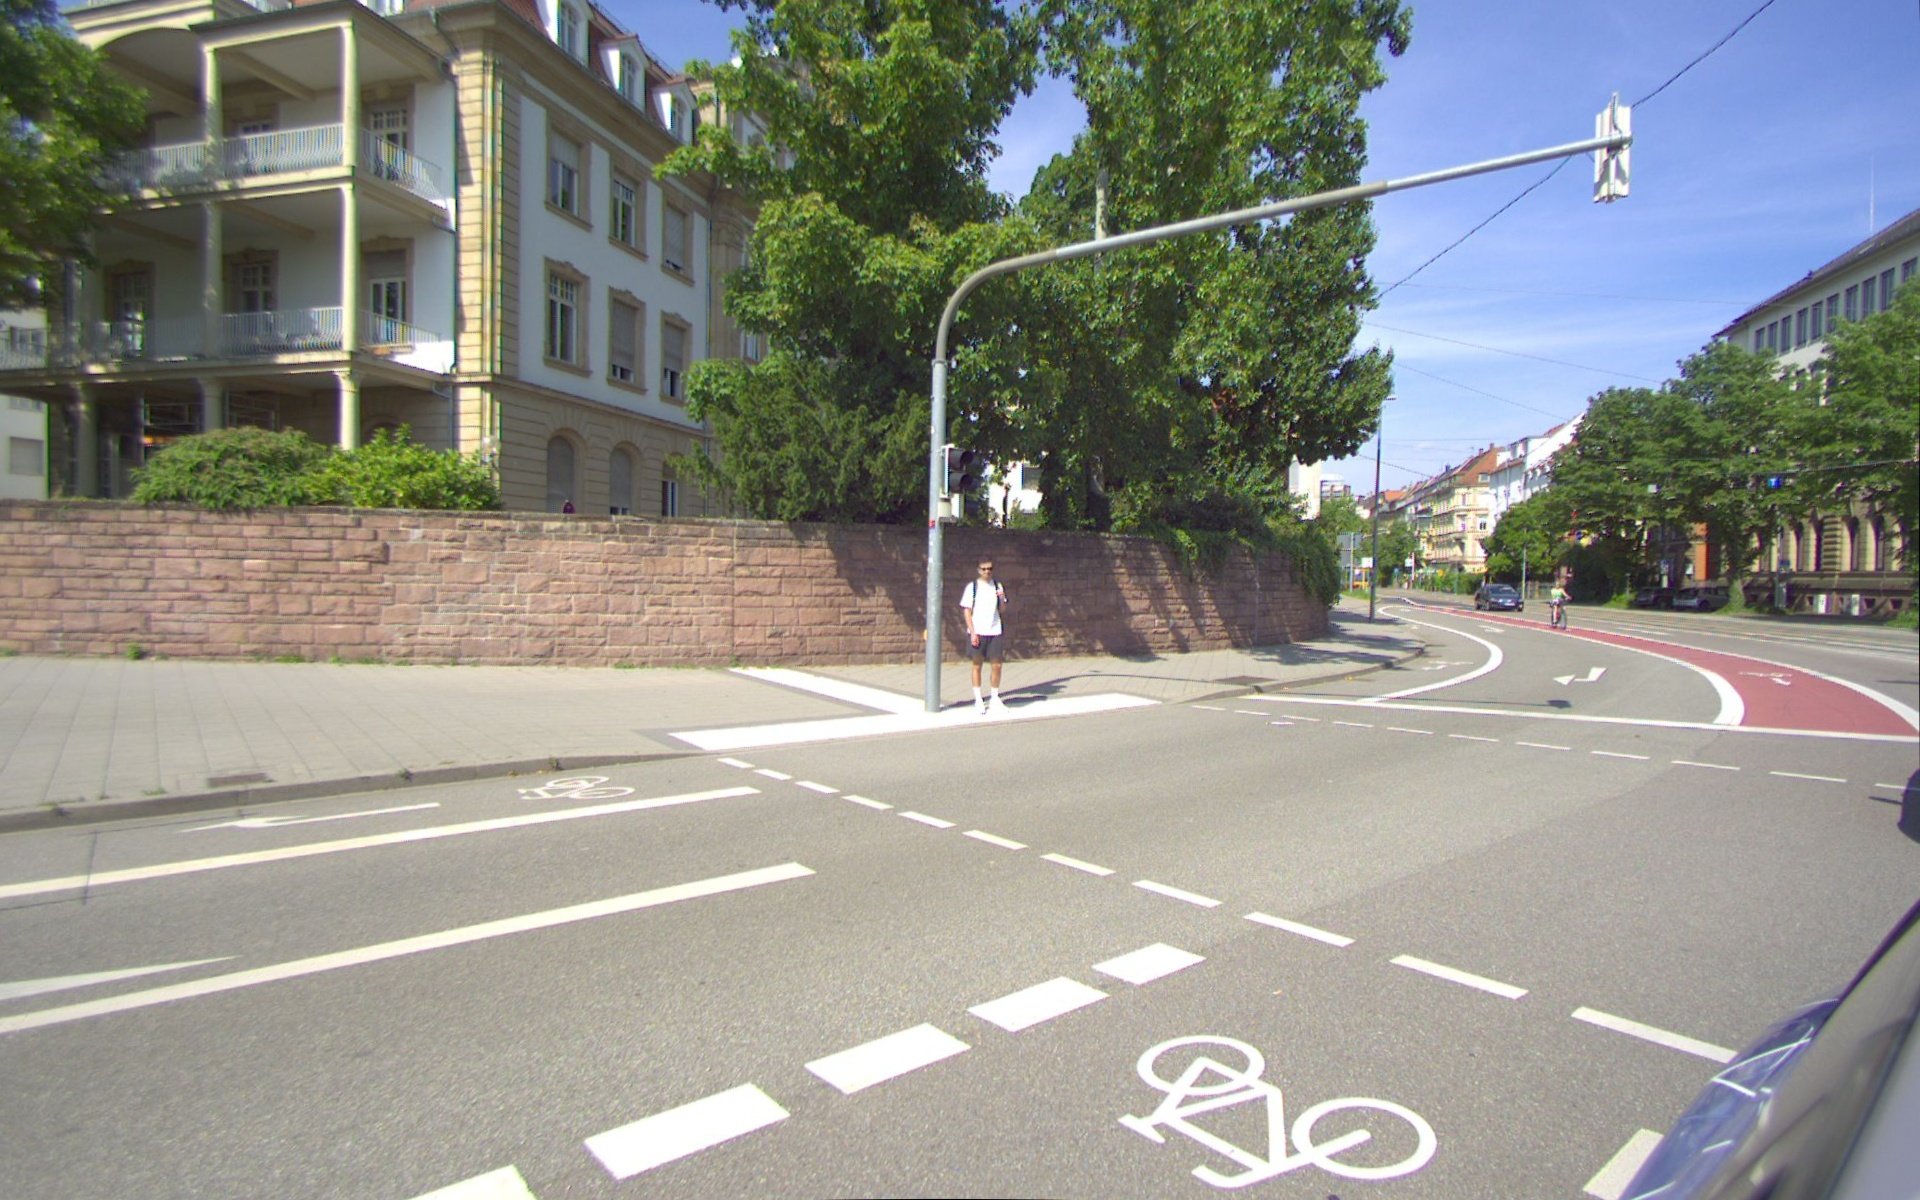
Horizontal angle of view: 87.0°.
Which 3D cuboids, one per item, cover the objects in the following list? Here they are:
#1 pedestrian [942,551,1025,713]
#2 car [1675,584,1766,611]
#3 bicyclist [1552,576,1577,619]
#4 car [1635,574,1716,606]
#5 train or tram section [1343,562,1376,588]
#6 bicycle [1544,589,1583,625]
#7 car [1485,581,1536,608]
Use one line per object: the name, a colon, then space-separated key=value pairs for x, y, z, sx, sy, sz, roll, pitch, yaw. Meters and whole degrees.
pedestrian: x=0.296 y=0.370 z=12.468 sx=0.649 sy=1.897 sz=0.787 roll=4 pitch=2 yaw=32
car: x=47.103 y=-0.189 z=62.759 sx=3.942 sy=1.482 sz=1.991 roll=2 pitch=2 yaw=15
bicyclist: x=22.174 y=-0.101 z=37.142 sx=0.580 sy=1.567 sz=0.926 roll=-1 pitch=0 yaw=18
car: x=48.214 y=-0.682 z=68.257 sx=3.942 sy=2.038 sz=1.991 roll=2 pitch=2 yaw=15
train or tram section: x=63.462 y=-4.002 z=161.114 sx=3.170 sy=3.908 sz=14.521 roll=2 pitch=2 yaw=15
bicycle: x=22.198 y=0.243 z=37.261 sx=0.677 sy=1.237 sz=2.175 roll=2 pitch=2 yaw=17
car: x=30.445 y=-0.331 z=56.060 sx=1.780 sy=1.393 sz=4.250 roll=1 pitch=2 yaw=19
